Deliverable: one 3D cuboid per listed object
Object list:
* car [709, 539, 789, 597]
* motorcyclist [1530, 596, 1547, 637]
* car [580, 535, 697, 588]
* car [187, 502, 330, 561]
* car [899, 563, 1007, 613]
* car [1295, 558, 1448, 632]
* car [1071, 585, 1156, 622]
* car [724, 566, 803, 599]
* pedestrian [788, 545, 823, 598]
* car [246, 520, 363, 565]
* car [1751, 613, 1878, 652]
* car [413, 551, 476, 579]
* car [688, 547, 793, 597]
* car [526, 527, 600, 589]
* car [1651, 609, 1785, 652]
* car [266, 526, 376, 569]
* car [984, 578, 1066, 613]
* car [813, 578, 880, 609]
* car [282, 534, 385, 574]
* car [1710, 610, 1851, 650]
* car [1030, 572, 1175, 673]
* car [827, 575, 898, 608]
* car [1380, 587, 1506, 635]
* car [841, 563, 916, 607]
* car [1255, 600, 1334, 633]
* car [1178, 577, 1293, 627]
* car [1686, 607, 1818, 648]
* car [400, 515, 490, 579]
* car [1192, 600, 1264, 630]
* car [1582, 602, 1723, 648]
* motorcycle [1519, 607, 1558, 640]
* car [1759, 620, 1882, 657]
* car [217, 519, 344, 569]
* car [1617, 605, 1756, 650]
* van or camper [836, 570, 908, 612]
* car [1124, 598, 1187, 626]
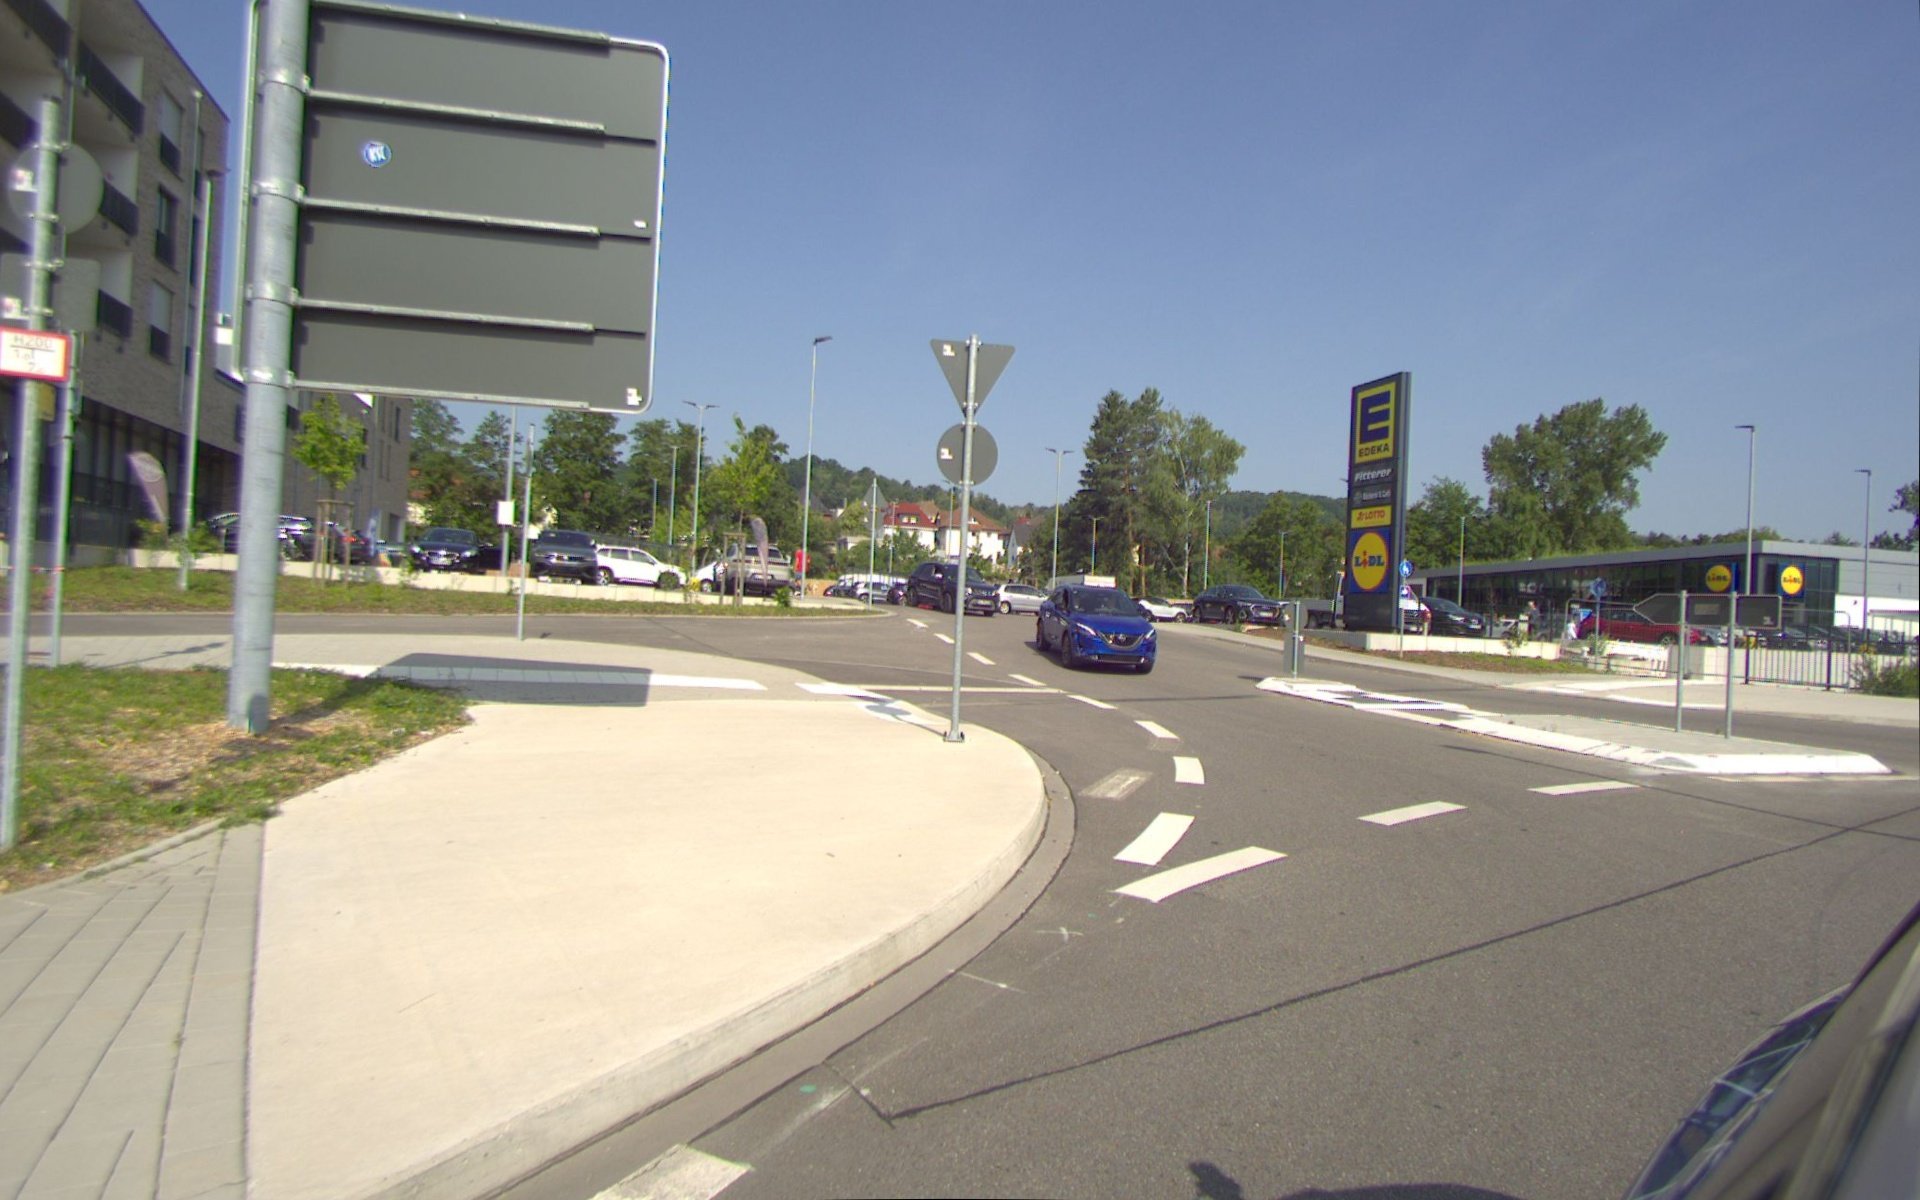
[{"bbox_3d":[-6.900,-1.069,32.757,1.819,1.574,4.834,5,1,-19],"label":"car"},{"bbox_3d":[22.265,0.643,38.939,0.511,1.563,0.575,0,-4,34],"label":"motorcyclist"},{"bbox_3d":[-13.479,-1.575,42.439,4.482,1.904,2.004,3,-1,-20],"label":"car"},{"bbox_3d":[-20.890,-2.012,30.279,3.263,1.368,1.493,3,-3,-26],"label":"car"},{"bbox_3d":[-0.313,-0.426,33.419,1.610,1.409,4.236,2,2,-30],"label":"car"},{"bbox_3d":[15.249,-0.074,37.989,2.017,2.415,6.102,3,-3,-16],"label":"car"},{"bbox_3d":[7.511,0.220,49.590,3.707,1.594,1.766,3,-3,-18],"label":"car"},{"bbox_3d":[-9.188,-0.806,47.261,3.264,1.368,1.630,2,-2,-27],"label":"car"},{"bbox_3d":[-5.349,-0.972,35.117,0.865,1.764,0.756,4,-4,-41],"label":"pedestrian"},{"bbox_3d":[-24.371,-2.122,37.741,3.262,1.368,1.550,3,-3,-16],"label":"car"},{"bbox_3d":[37.713,1.433,44.764,1.671,1.594,3.998,4,-3,-35],"label":"car"},{"bbox_3d":[-30.946,-2.091,60.793,3.264,1.368,1.629,3,-3,-28],"label":"car"},{"bbox_3d":[-10.671,-1.335,49.336,4.553,2.040,2.002,3,-3,-29],"label":"car"},{"bbox_3d":[-11.920,-1.275,30.411,1.819,1.574,4.471,5,1,-22],"label":"car"},{"bbox_3d":[30.503,1.220,40.814,1.671,1.594,3.998,4,-3,-35],"label":"car"},{"bbox_3d":[-24.966,-2.017,39.632,3.262,1.368,1.586,3,-3,-15],"label":"car"},{"bbox_3d":[3.082,-0.185,48.095,3.555,1.464,1.528,3,-3,-17],"label":"car"},{"bbox_3d":[-8.408,-0.449,74.887,4.549,2.002,2.003,3,-3,-19],"label":"car"},{"bbox_3d":[-26.074,-1.901,42.235,3.262,1.368,1.586,3,-3,-15],"label":"car"},{"bbox_3d":[35.067,1.275,43.353,1.671,1.594,4.414,4,-3,-35],"label":"car"},{"bbox_3d":[2.900,0.387,21.649,1.849,1.683,4.362,4,3,-8],"label":"car"},{"bbox_3d":[-6.869,-0.551,71.006,4.549,2.002,2.003,3,-3,-19],"label":"car"},{"bbox_3d":[18.106,0.484,38.205,1.794,1.623,4.484,3,-3,-15],"label":"car"},{"bbox_3d":[-5.514,-0.949,68.366,4.549,2.651,2.003,3,-3,-19],"label":"car"},{"bbox_3d":[17.878,0.914,54.103,3.707,1.594,1.669,3,-3,-18],"label":"car"},{"bbox_3d":[9.795,0.121,36.422,1.882,1.550,4.868,3,-3,-13],"label":"car"},{"bbox_3d":[32.924,1.146,42.166,1.671,1.594,3.998,4,-3,-35],"label":"car"},{"bbox_3d":[-15.004,-1.544,29.683,1.819,1.574,4.471,5,1,-22],"label":"car"},{"bbox_3d":[15.725,0.920,59.498,3.707,1.594,1.766,3,-3,-18],"label":"car"},{"bbox_3d":[26.004,0.939,38.119,1.744,1.594,4.023,4,-3,-33],"label":"car"},{"bbox_3d":[21.996,0.909,38.494,0.581,1.206,1.898,3,-2,8],"label":"motorcycle"},{"bbox_3d":[39.549,1.760,46.594,1.671,1.594,3.998,4,-3,-35],"label":"car"},{"bbox_3d":[-23.218,-1.888,34.691,3.262,1.368,1.493,3,-3,-18],"label":"car"},{"bbox_3d":[28.026,1.058,39.167,1.744,1.594,4.023,4,-3,-33],"label":"car"},{"bbox_3d":[-6.927,-0.676,79.497,5.174,2.885,2.299,3,-3,-19],"label":"van or camper"},{"bbox_3d":[12.967,0.813,67.074,3.707,1.594,1.766,3,-3,-18],"label":"car"}]
